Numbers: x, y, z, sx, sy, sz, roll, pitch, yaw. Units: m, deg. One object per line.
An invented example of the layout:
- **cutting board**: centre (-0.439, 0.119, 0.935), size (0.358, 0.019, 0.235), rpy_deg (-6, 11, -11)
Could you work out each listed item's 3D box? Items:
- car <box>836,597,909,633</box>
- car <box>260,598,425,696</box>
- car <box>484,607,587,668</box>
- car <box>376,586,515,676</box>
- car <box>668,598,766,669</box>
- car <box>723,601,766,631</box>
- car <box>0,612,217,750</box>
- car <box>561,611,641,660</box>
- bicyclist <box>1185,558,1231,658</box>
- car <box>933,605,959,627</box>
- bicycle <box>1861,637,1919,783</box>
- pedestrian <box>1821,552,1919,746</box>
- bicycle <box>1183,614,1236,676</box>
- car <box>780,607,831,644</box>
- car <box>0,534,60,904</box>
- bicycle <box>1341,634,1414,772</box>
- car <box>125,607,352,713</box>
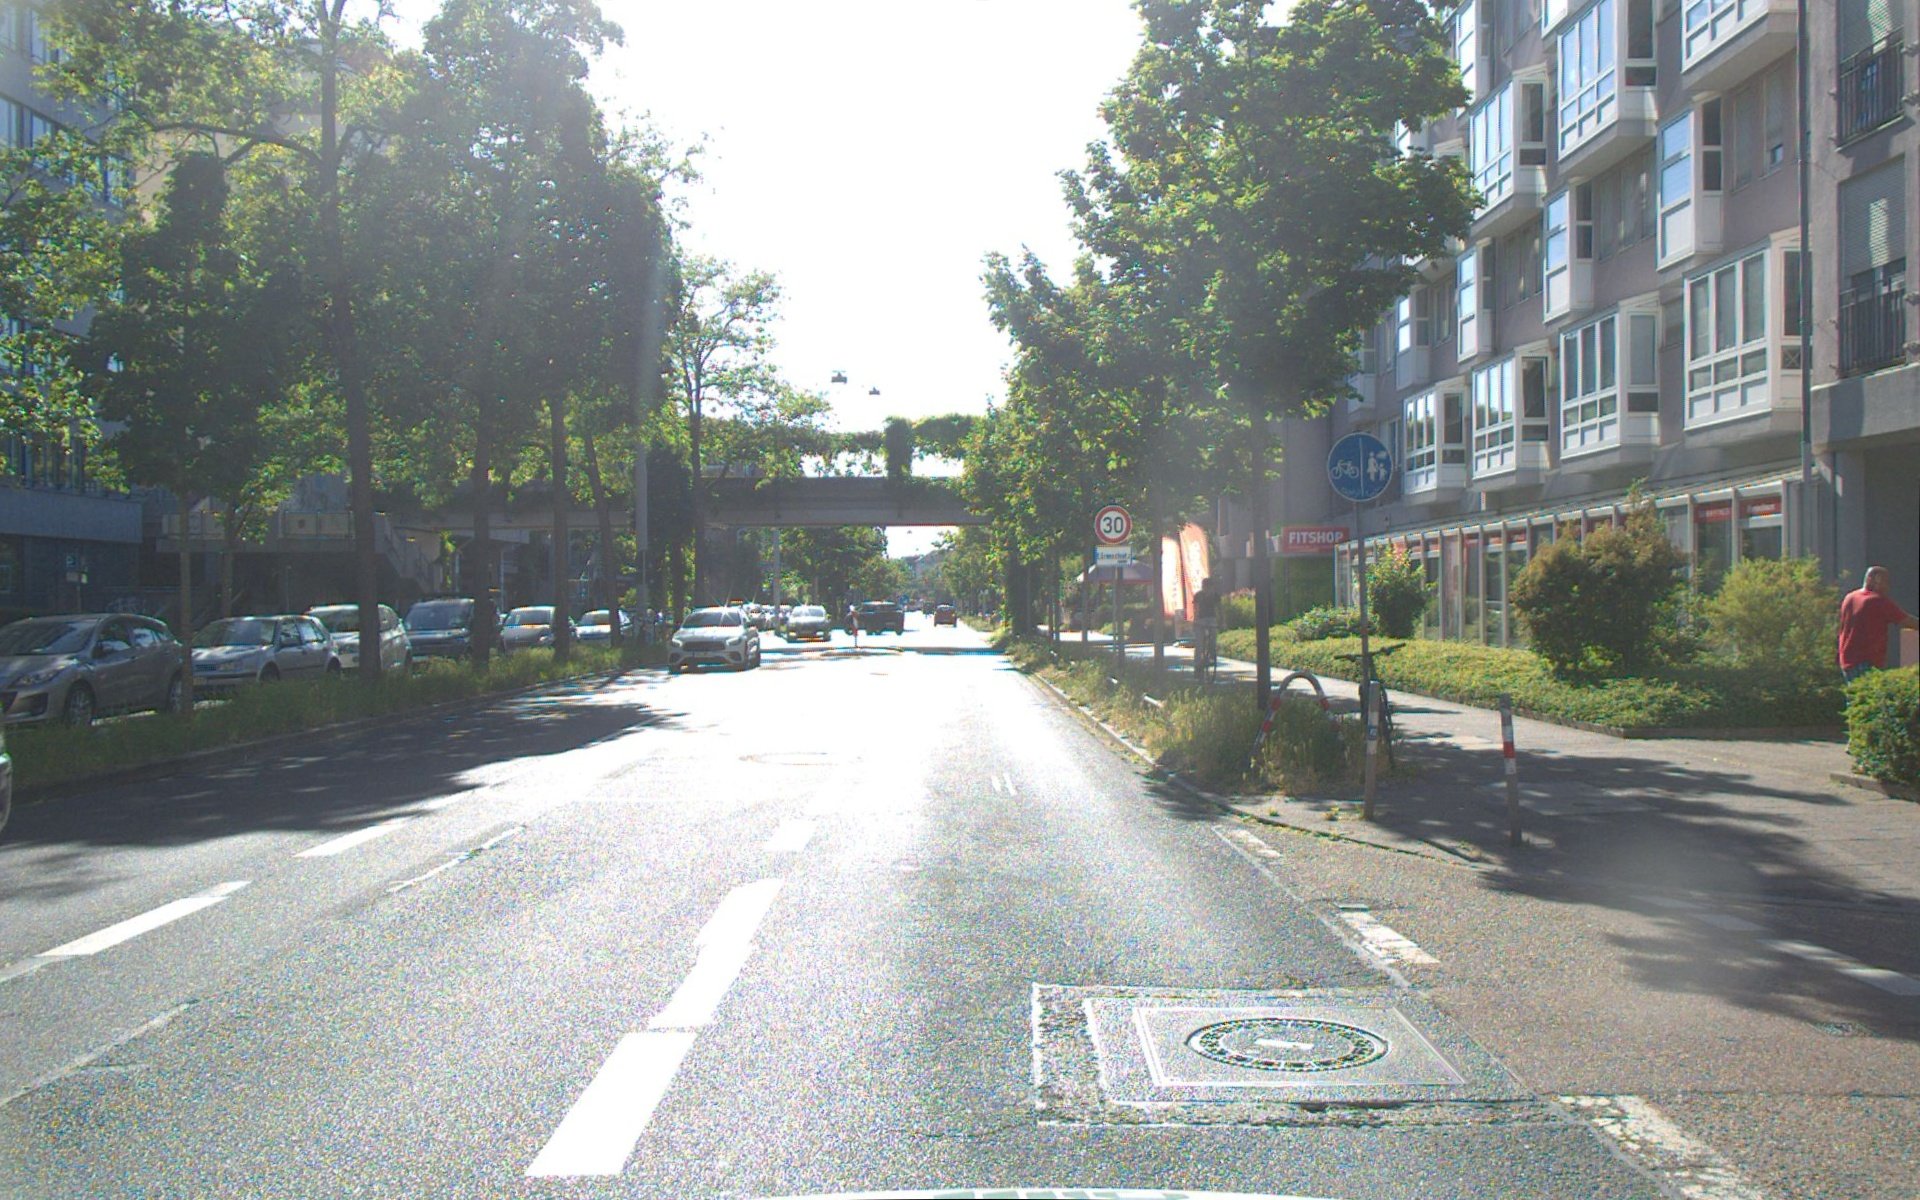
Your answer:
- **car**: centre (-4.194, 0.700, 78.484), size (1.961, 1.628, 4.104), rpy_deg (0, 0, -27)
- **car**: centre (-11.641, 0.831, 31.496), size (1.820, 1.713, 4.658), rpy_deg (1, 0, -6)
- **car**: centre (-11.601, 0.999, 45.425), size (1.818, 1.595, 3.871), rpy_deg (1, 0, 0)
- **car**: centre (-11.600, 0.670, 37.588), size (1.818, 1.882, 4.560), rpy_deg (1, 0, -2)
- **car**: centre (-5.934, 0.791, 40.891), size (1.818, 1.595, 4.714), rpy_deg (-2, 0, -2)
- **car**: centre (-11.521, 0.861, 88.626), size (1.818, 1.549, 4.076), rpy_deg (1, 0, -2)
- **car**: centre (-11.342, 0.946, 21.102), size (1.818, 1.549, 4.317), rpy_deg (1, 0, -1)
- **car**: centre (-11.886, 1.148, 55.045), size (1.818, 1.549, 4.317), rpy_deg (1, 0, -2)
- **bicyclist**: centre (4.349, 0.148, 29.064), size (0.654, 1.725, 0.889), rpy_deg (1, -1, -2)
- **car**: centre (-0.981, 1.159, 120.231), size (1.817, 1.549, 4.319), rpy_deg (1, 0, 1)
- **bicycle**: centre (8.201, 0.805, 12.724), size (2.150, 1.045, 0.687), rpy_deg (-2, 2, 1)
- **pedestrian**: centre (8.076, 0.419, 14.482), size (0.641, 1.632, 0.602), rpy_deg (-3, -1, -7)
- **bicycle**: centre (4.351, 0.782, 28.940), size (0.577, 1.045, 1.859), rpy_deg (0, -1, -2)
- **car**: centre (-6.530, 1.056, 70.196), size (1.818, 1.465, 4.317), rpy_deg (-2, 0, -2)
- **car**: centre (-5.726, 0.622, 6.522), size (1.818, 1.857, 4.609), rpy_deg (-2, 0, -1)
- **bicycle**: centre (3.701, 0.864, 14.601), size (0.578, 1.084, 2.024), rpy_deg (0, 0, 15)
- **car**: centre (-11.468, 0.894, 26.616), size (1.817, 1.549, 4.063), rpy_deg (1, 0, 1)
